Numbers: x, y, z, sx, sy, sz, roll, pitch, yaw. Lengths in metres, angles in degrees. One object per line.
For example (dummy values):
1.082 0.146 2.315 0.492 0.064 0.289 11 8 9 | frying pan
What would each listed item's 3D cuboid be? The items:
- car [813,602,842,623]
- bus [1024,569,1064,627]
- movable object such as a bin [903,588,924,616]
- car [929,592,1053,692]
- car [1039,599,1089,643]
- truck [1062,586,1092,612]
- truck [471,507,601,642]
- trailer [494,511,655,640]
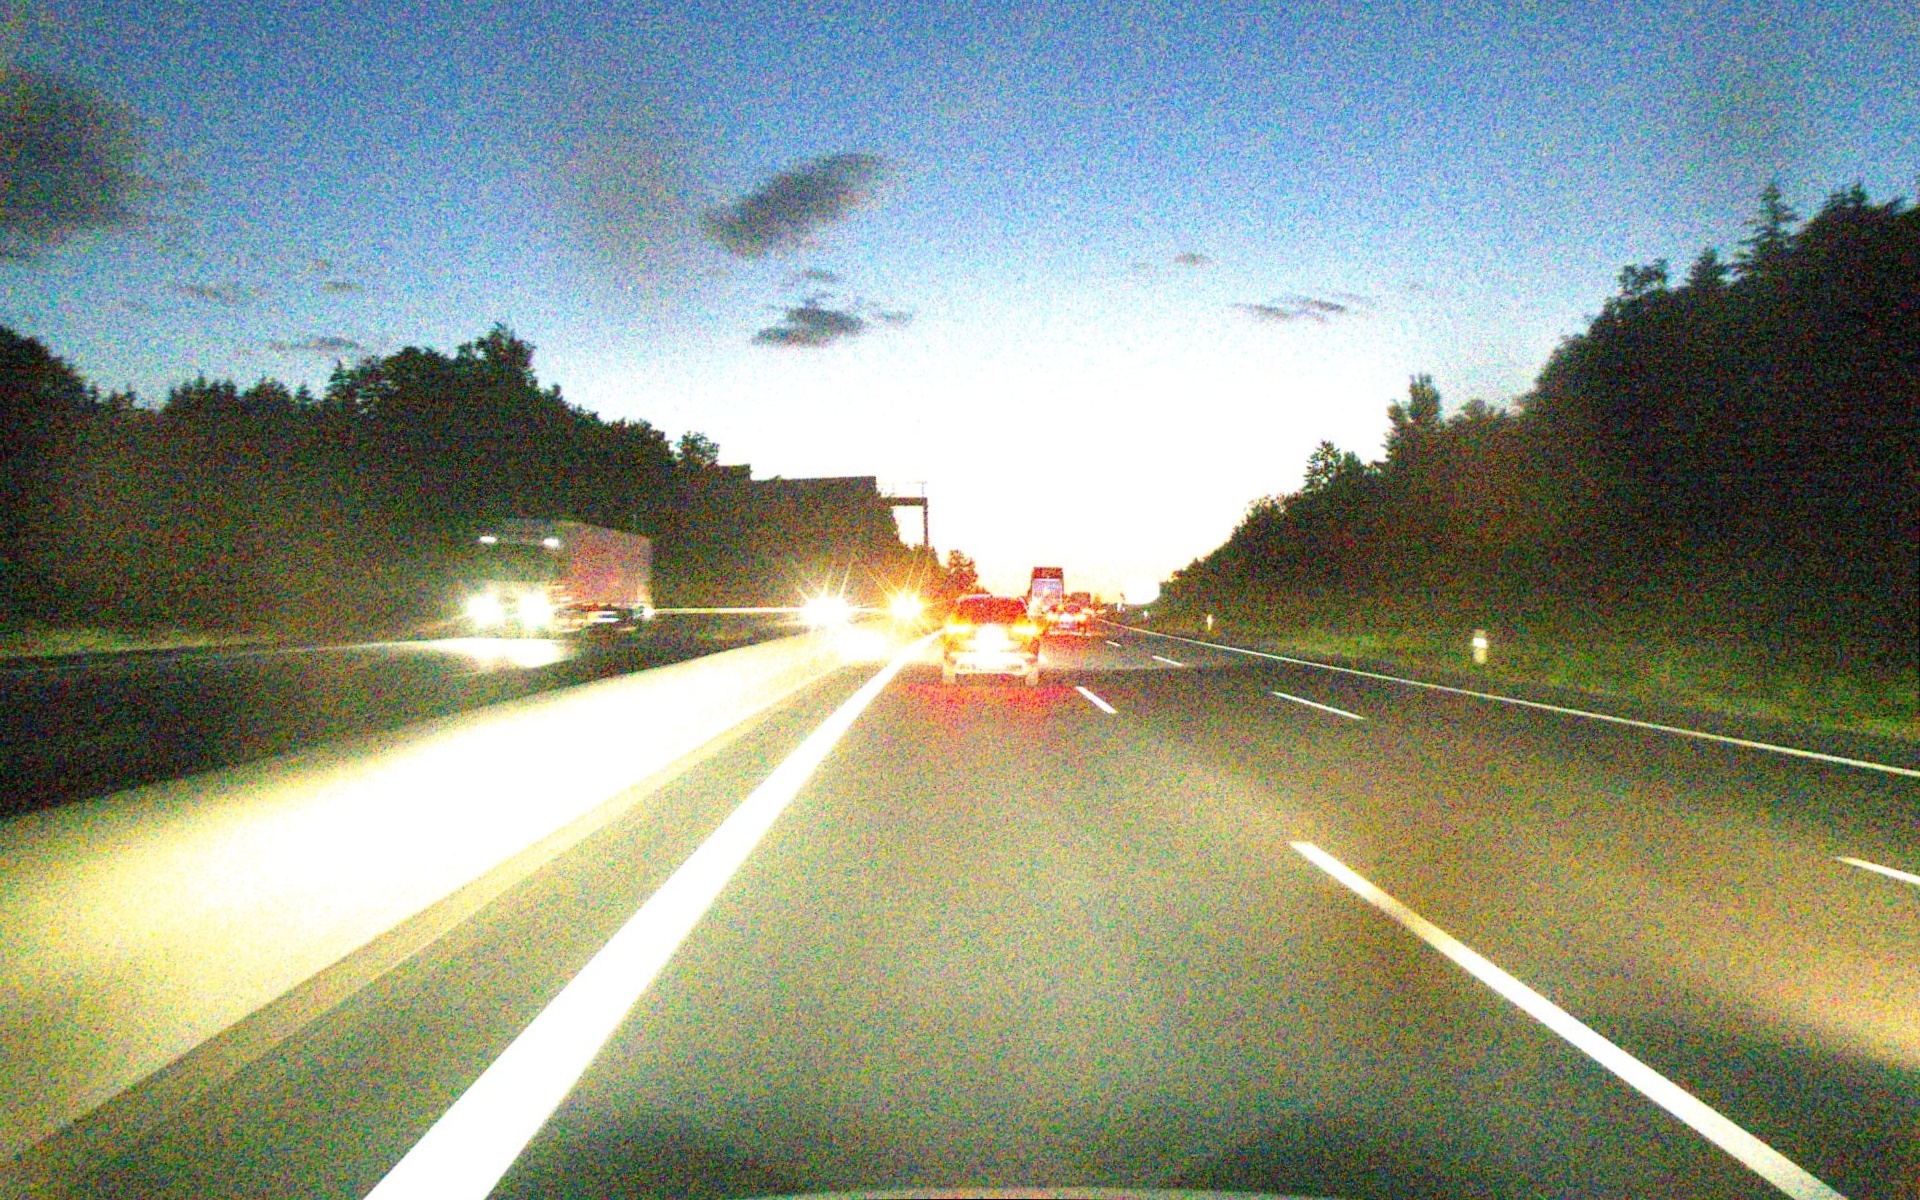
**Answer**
-9.763 0.933 121.656 1.776 1.478 4.133 1 0 0 | car
6.626 -0.028 128.645 2.596 4.064 14.708 -2 -2 5 | bus
-5.946 0.240 212.265 2.161 3.477 7.439 1 0 3 | movable object such as a bin
0.492 0.714 30.786 2.063 1.646 4.203 2 1 -2 | car
4.495 0.932 72.049 1.872 1.760 3.999 3 -2 0 | car
14.611 -0.122 207.407 2.495 3.069 9.046 1 0 -3 | truck
-15.067 -0.859 59.216 2.793 4.511 6.397 1 0 1 | truck
-14.973 -0.826 65.697 2.793 4.511 13.981 1 0 1 | trailer
